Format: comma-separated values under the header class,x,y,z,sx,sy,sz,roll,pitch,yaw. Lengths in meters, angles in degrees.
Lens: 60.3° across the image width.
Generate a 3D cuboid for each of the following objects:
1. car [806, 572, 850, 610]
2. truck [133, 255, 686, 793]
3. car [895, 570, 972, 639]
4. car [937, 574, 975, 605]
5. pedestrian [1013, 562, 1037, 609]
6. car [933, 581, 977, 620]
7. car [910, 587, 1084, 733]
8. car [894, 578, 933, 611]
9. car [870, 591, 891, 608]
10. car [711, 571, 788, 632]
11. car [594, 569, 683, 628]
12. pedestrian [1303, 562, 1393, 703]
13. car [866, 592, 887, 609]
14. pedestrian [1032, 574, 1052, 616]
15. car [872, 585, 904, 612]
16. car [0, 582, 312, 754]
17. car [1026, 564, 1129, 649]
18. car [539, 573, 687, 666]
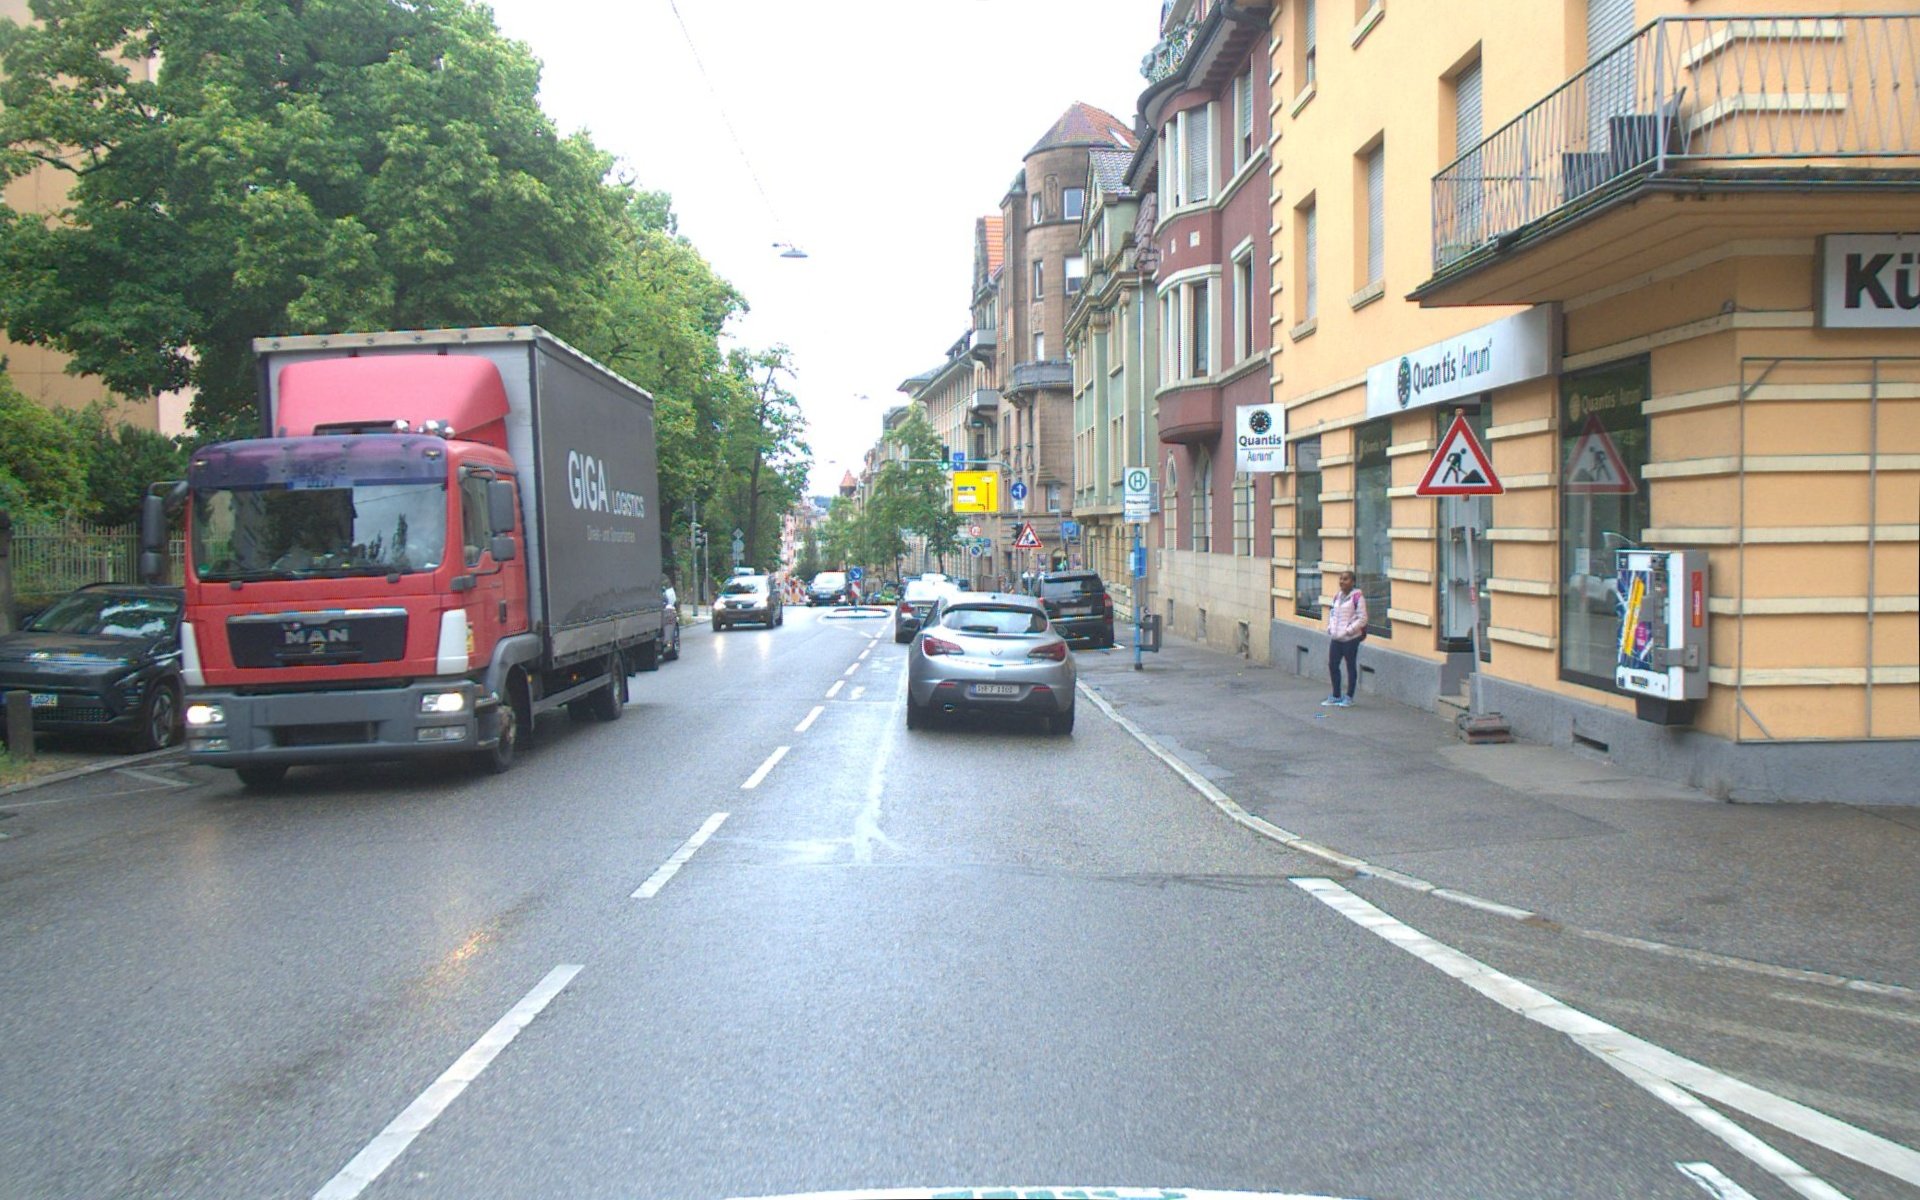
class,x,y,z,sx,sy,sz,roll,pitch,yaw
car,-5.708,-0.404,71.788,1.779,1.544,4.545,1,1,-3
truck,-4.875,-0.609,17.017,2.594,3.922,9.305,-2,0,-1
car,-0.606,0.100,39.260,1.736,1.531,3.868,1,0,0
car,-0.231,-0.572,91.782,1.625,1.570,3.659,-3,0,-7
pedestrian,2.568,-0.576,65.128,0.703,1.805,0.666,-2,1,18
car,-0.211,0.013,68.678,1.736,1.531,3.868,1,0,0
car,0.392,0.619,18.906,1.774,1.475,3.869,1,0,0
car,-2.342,-0.260,82.543,1.625,1.570,3.660,-3,0,-6
car,-6.996,-0.007,145.680,1.606,1.454,3.370,-1,0,-8
car,-6.075,-0.009,48.138,1.736,1.543,4.590,-1,2,-2
car,-9.170,-0.042,47.517,1.706,1.586,4.301,1,0,0
pedestrian,4.582,0.371,19.556,0.755,1.617,0.708,-1,0,-20
car,-7.641,0.039,150.744,1.606,1.494,3.852,-1,0,-7
pedestrian,3.215,-0.197,64.922,0.584,1.612,0.666,-2,1,18
car,-4.536,-0.099,103.349,1.625,1.570,3.659,-3,0,-7
car,-8.699,0.652,18.065,1.707,1.586,4.299,3,0,-4
car,2.525,0.139,36.637,1.838,1.658,4.697,-3,0,0
car,-6.077,0.339,29.497,1.736,1.493,4.746,-1,0,-2
